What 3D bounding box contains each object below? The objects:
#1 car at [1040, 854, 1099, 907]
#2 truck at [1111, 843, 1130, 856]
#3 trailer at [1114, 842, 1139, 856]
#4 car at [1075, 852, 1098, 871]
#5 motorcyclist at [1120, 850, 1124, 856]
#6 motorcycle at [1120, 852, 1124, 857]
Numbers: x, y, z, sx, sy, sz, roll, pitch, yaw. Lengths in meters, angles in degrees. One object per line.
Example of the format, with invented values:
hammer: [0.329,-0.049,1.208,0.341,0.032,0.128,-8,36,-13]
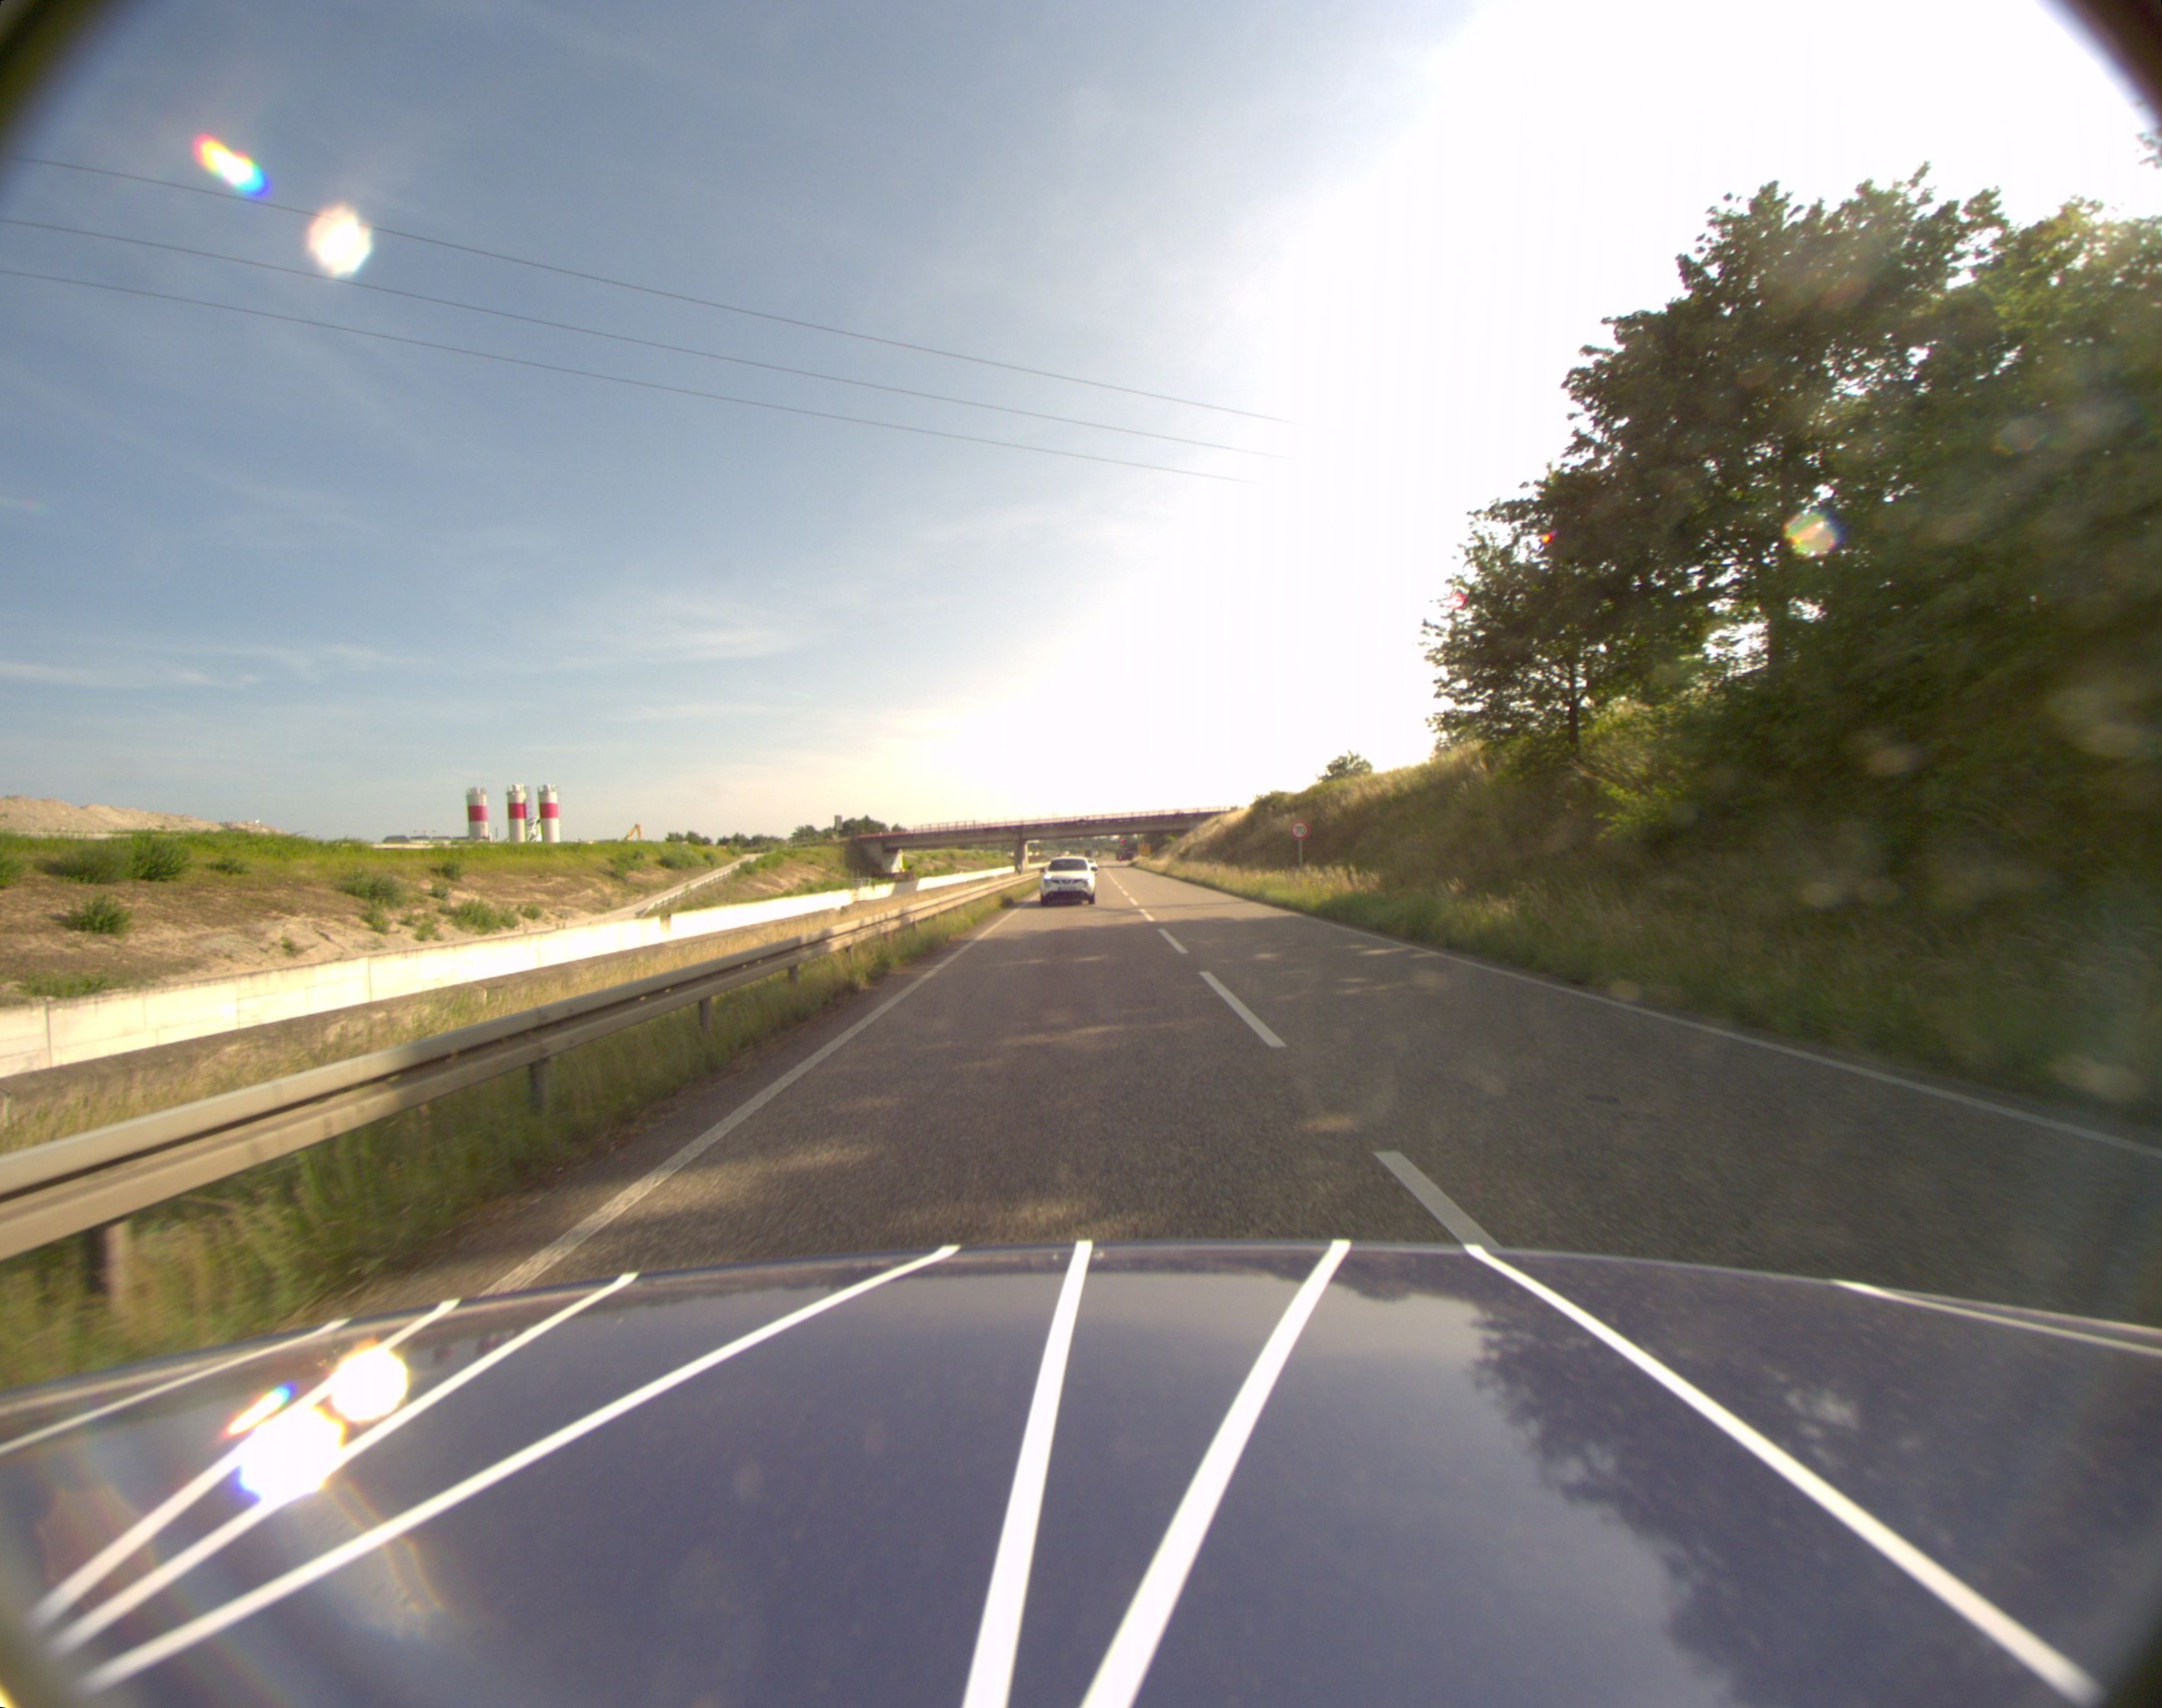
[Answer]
car: [-0.423,0.844,26.164,1.789,1.593,4.571,-2,0,-2]
truck: [13.419,-1.577,257.980,3.561,4.089,8.389,-3,0,-16]
trailer: [14.910,-1.624,252.014,3.561,4.089,13.780,-3,0,-16]
car: [0.493,0.657,67.439,1.908,1.512,4.465,-2,0,1]
motorcyclist: [10.062,-0.325,186.885,0.881,1.443,1.284,-1,1,0]
motorcycle: [10.073,0.150,186.877,1.044,1.111,2.132,-1,1,0]
